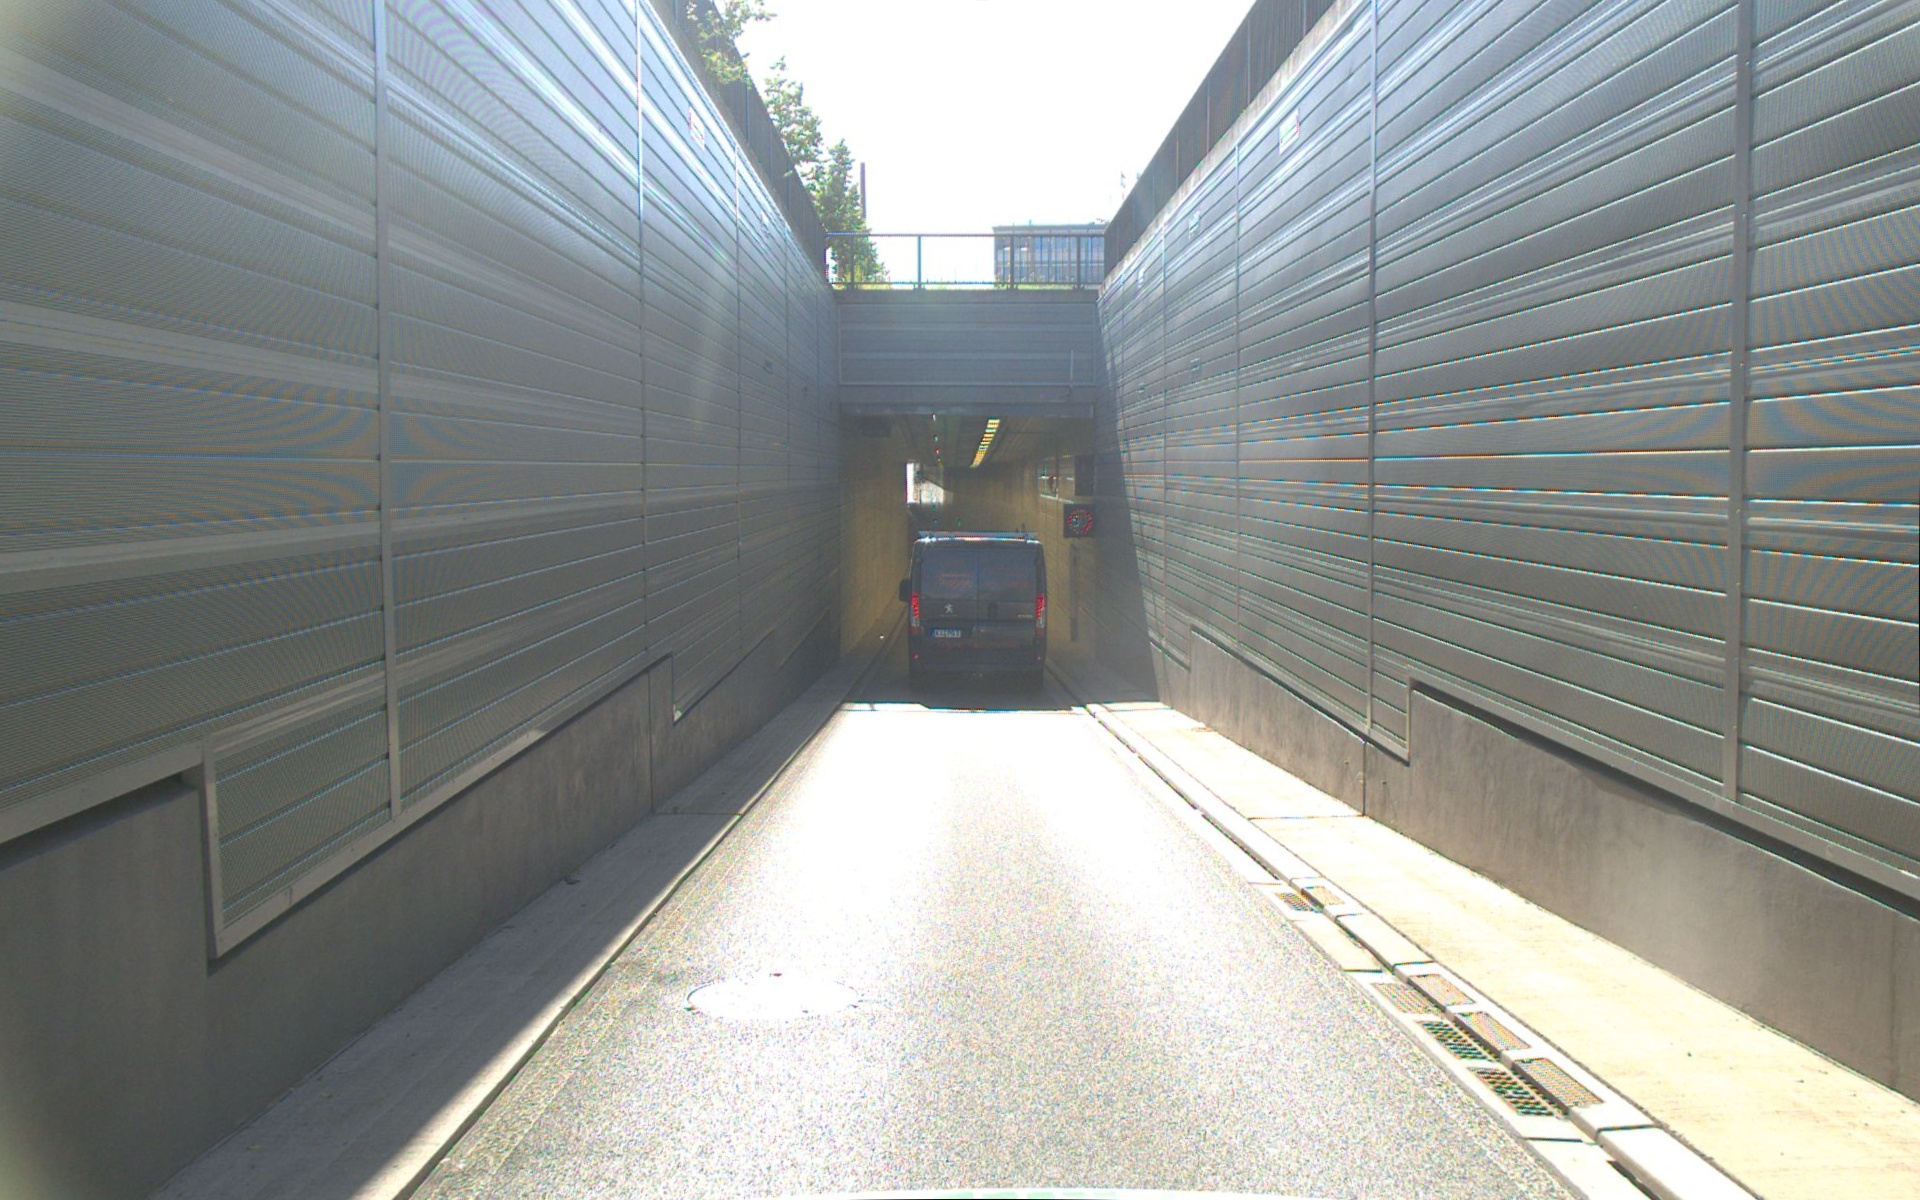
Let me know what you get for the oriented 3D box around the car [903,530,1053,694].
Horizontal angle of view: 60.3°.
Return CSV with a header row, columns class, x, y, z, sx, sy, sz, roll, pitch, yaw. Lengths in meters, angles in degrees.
class,x,y,z,sx,sy,sz,roll,pitch,yaw
car,0.256,0.139,25.640,2.114,2.305,4.636,0,1,0
